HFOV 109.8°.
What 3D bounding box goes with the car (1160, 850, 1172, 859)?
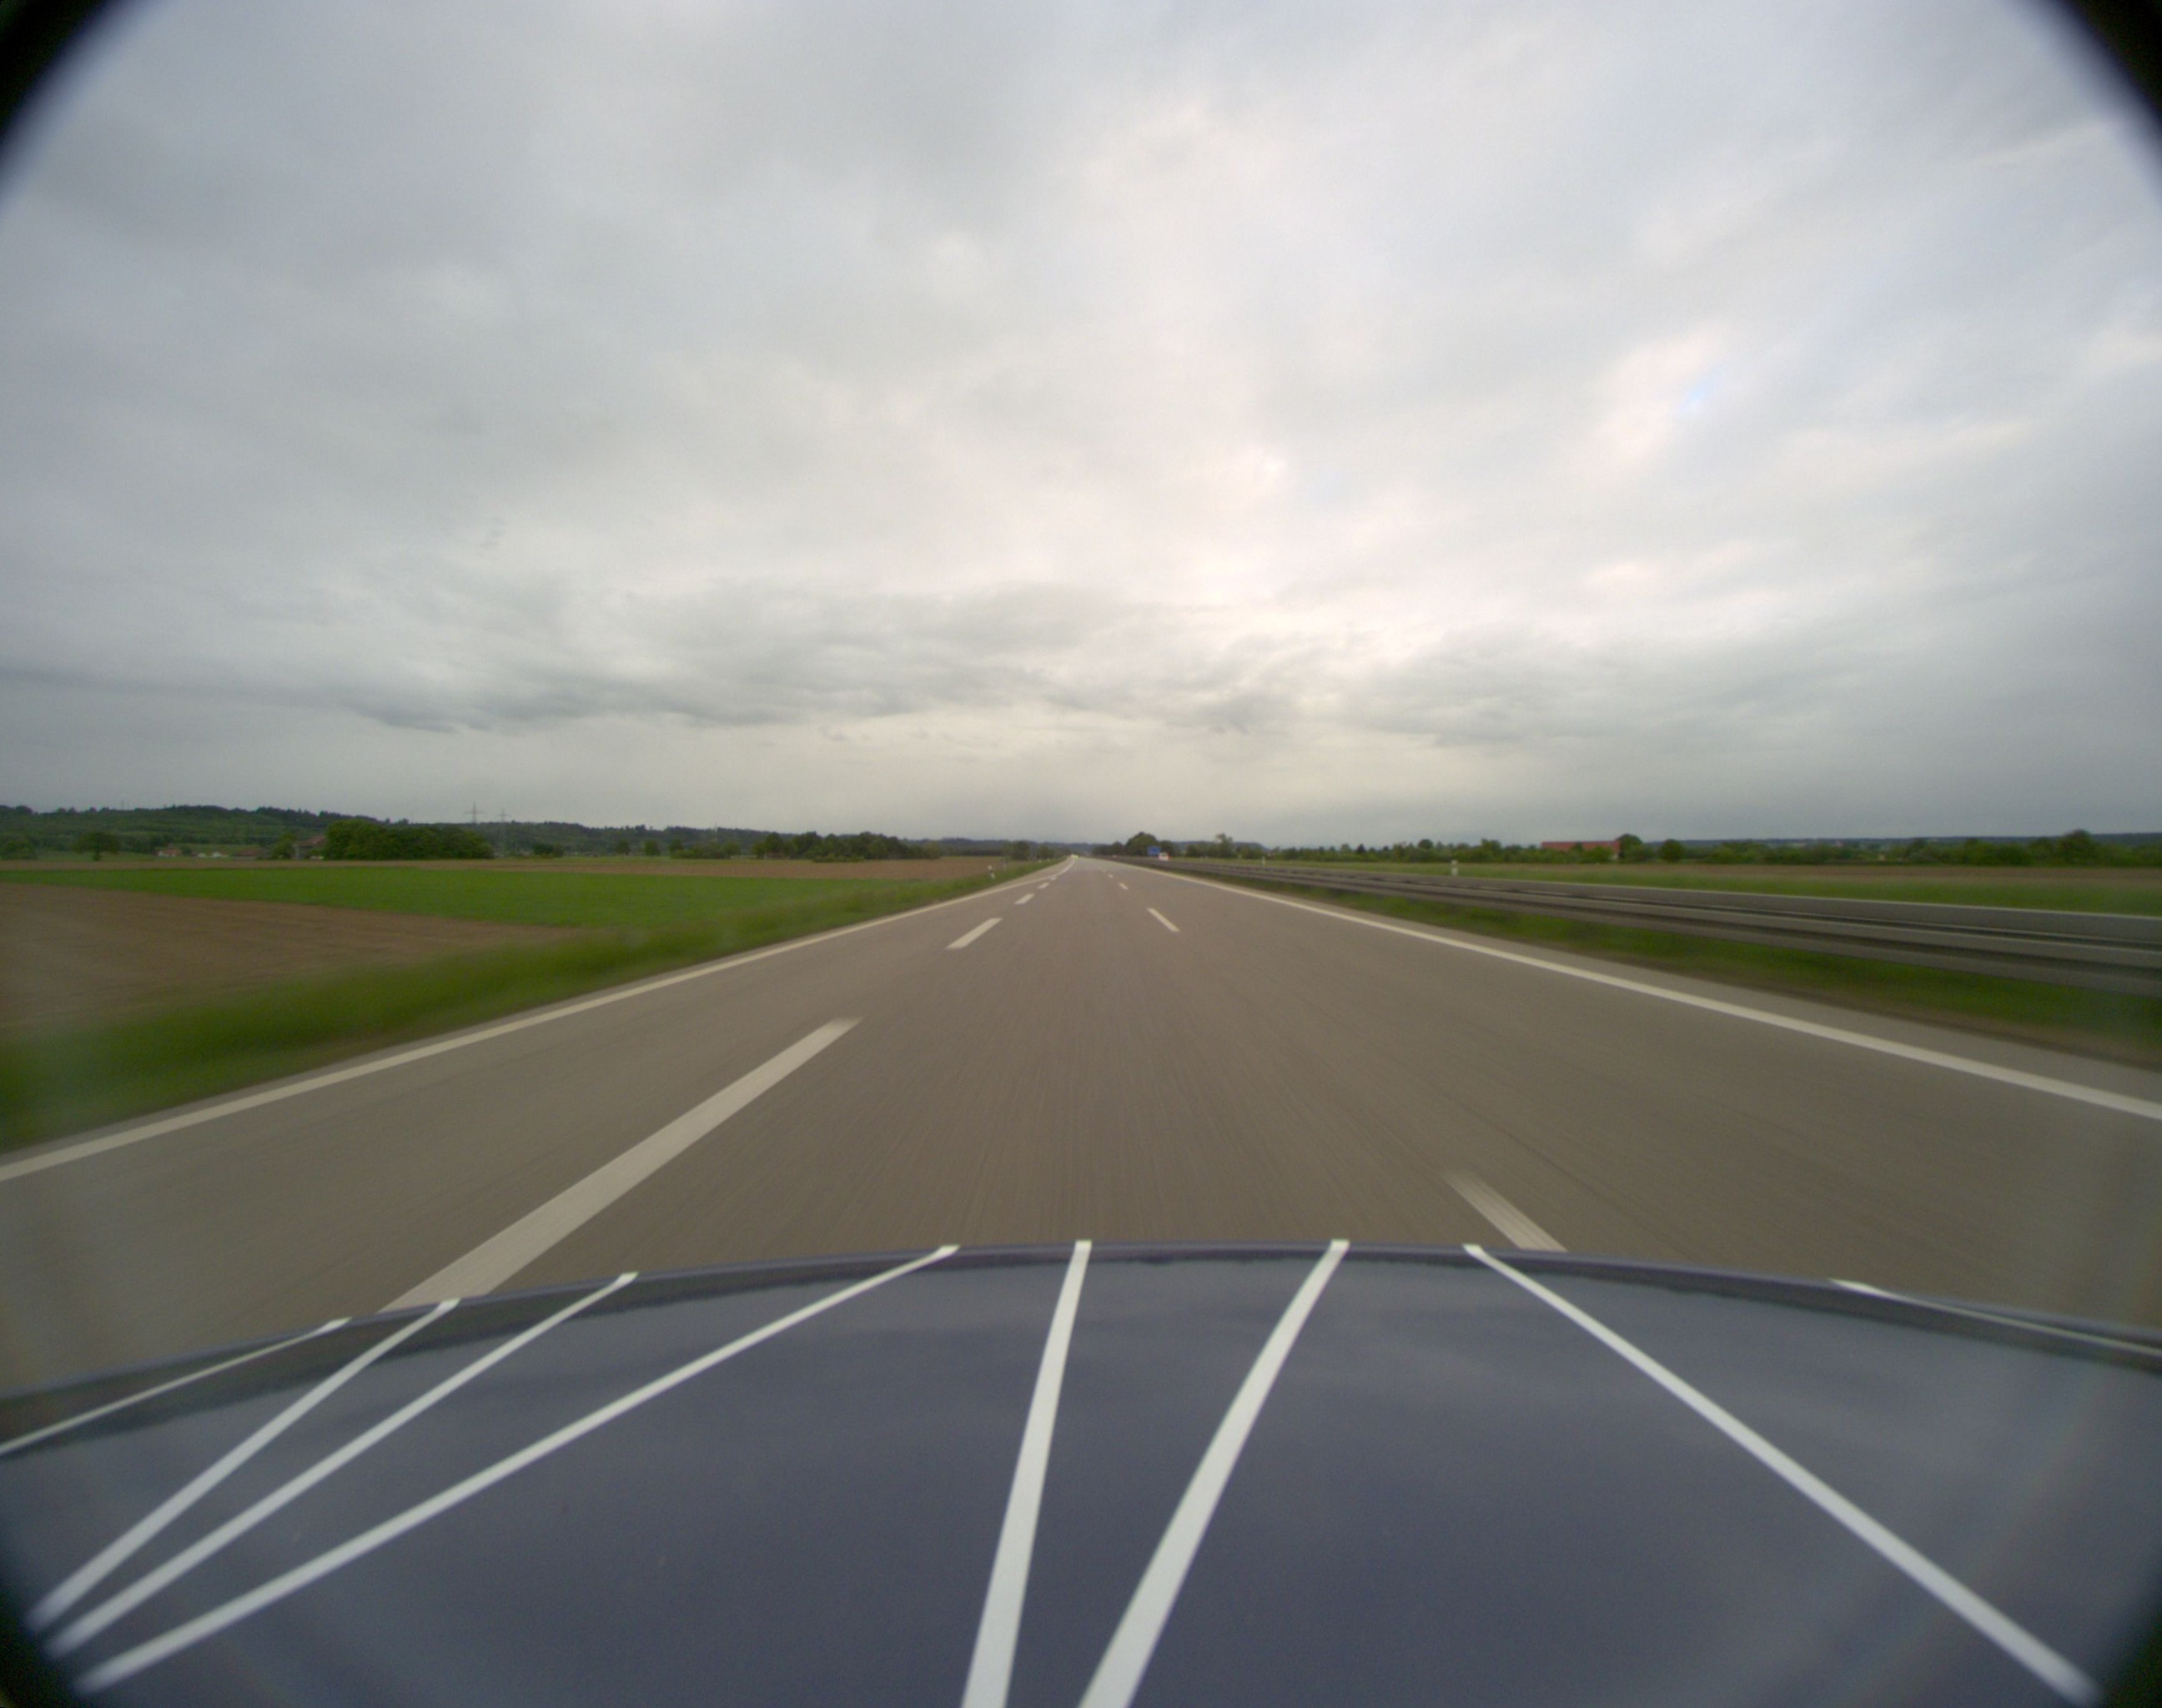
[{"bbox_3d":[18.331,0.134,164.227,1.999,1.755,4.951,-2,0,0],"label":"car"}]
